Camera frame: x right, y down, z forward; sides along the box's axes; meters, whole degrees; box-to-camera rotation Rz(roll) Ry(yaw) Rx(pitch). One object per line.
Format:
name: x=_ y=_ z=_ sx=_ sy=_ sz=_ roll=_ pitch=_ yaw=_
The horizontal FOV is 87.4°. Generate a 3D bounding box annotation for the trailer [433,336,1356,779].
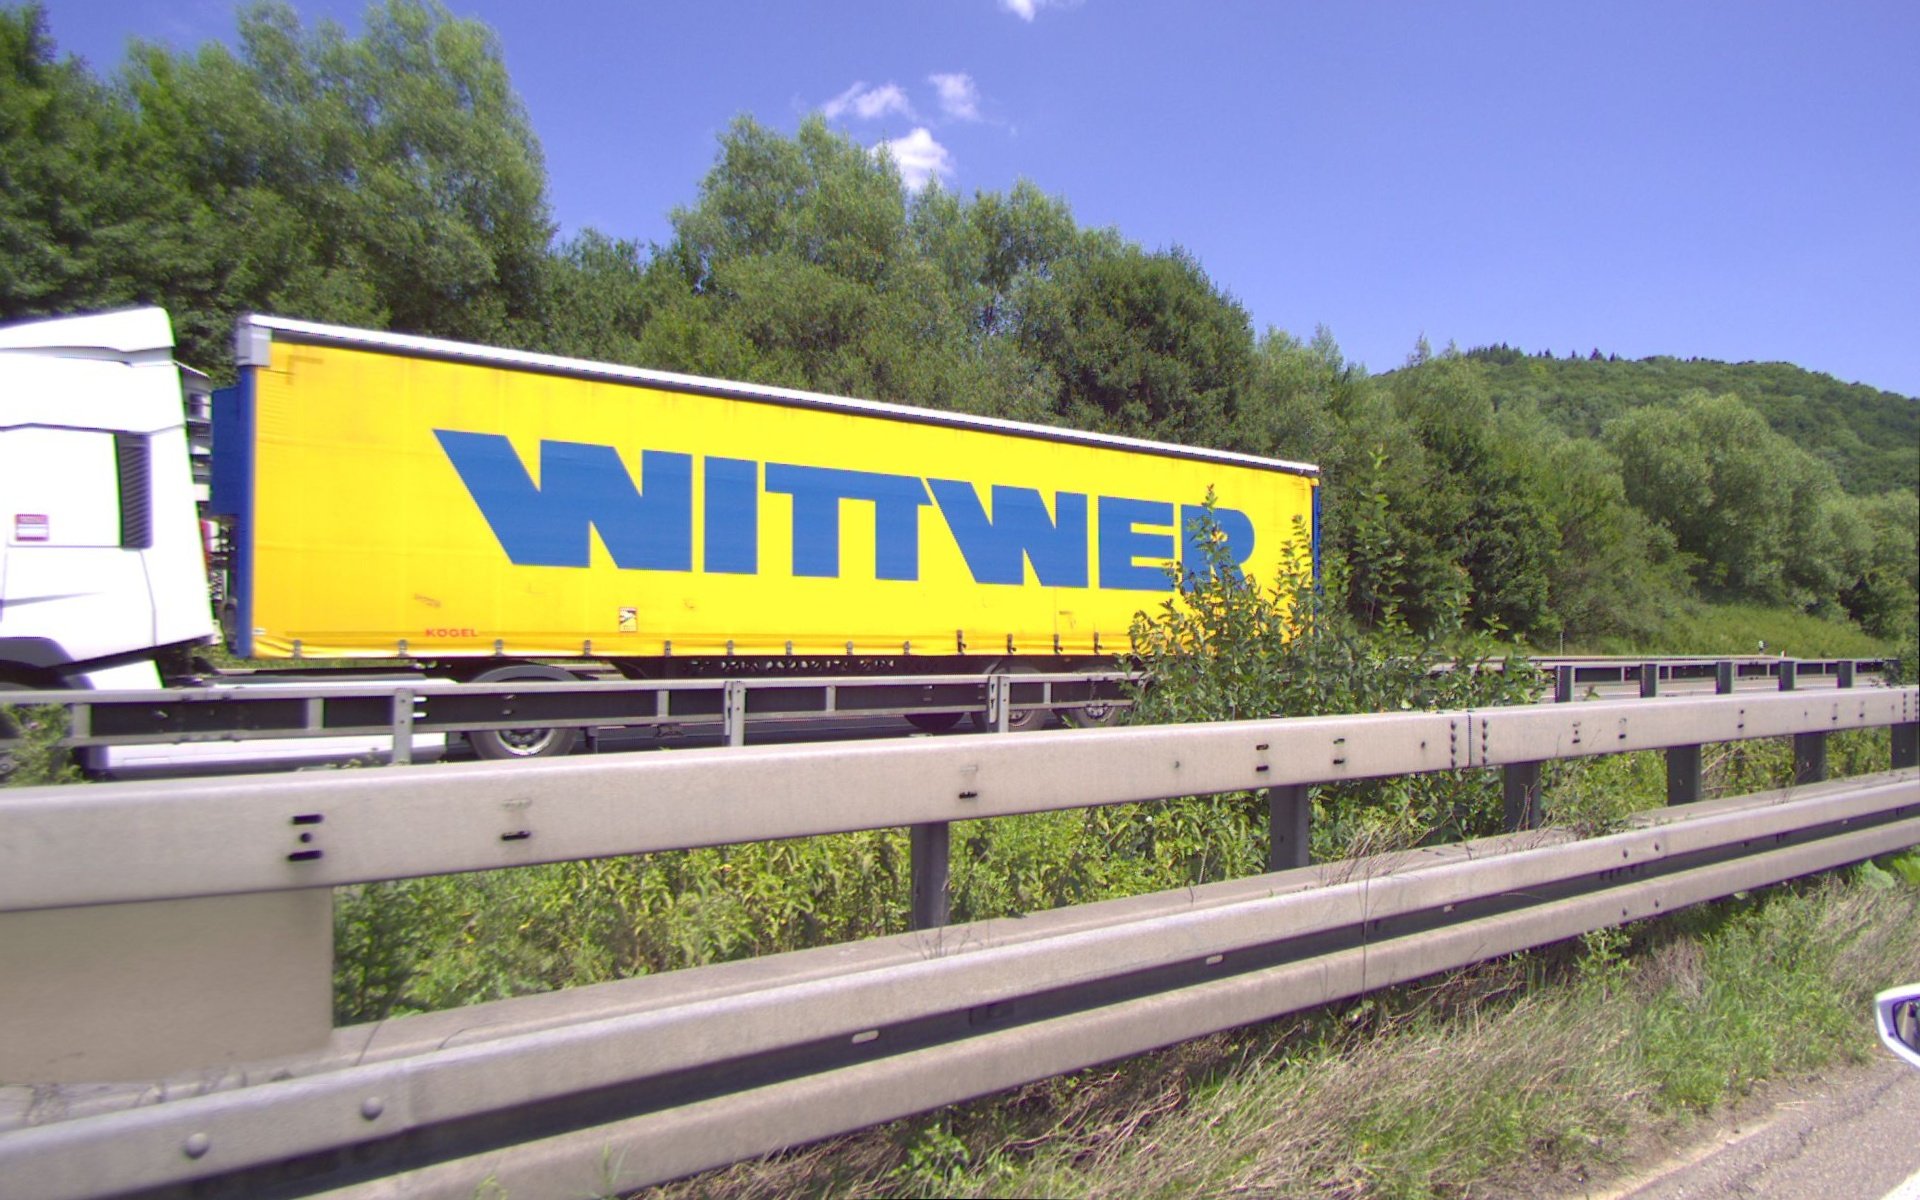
trailer: x=0.048 y=-0.249 z=13.439 sx=12.452 sy=4.058 sz=2.569 roll=2 pitch=0 yaw=-30

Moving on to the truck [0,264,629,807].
truck: x=-6.439 y=-0.441 z=9.642 sx=5.781 sy=4.144 sz=2.536 roll=1 pitch=-1 yaw=-30
